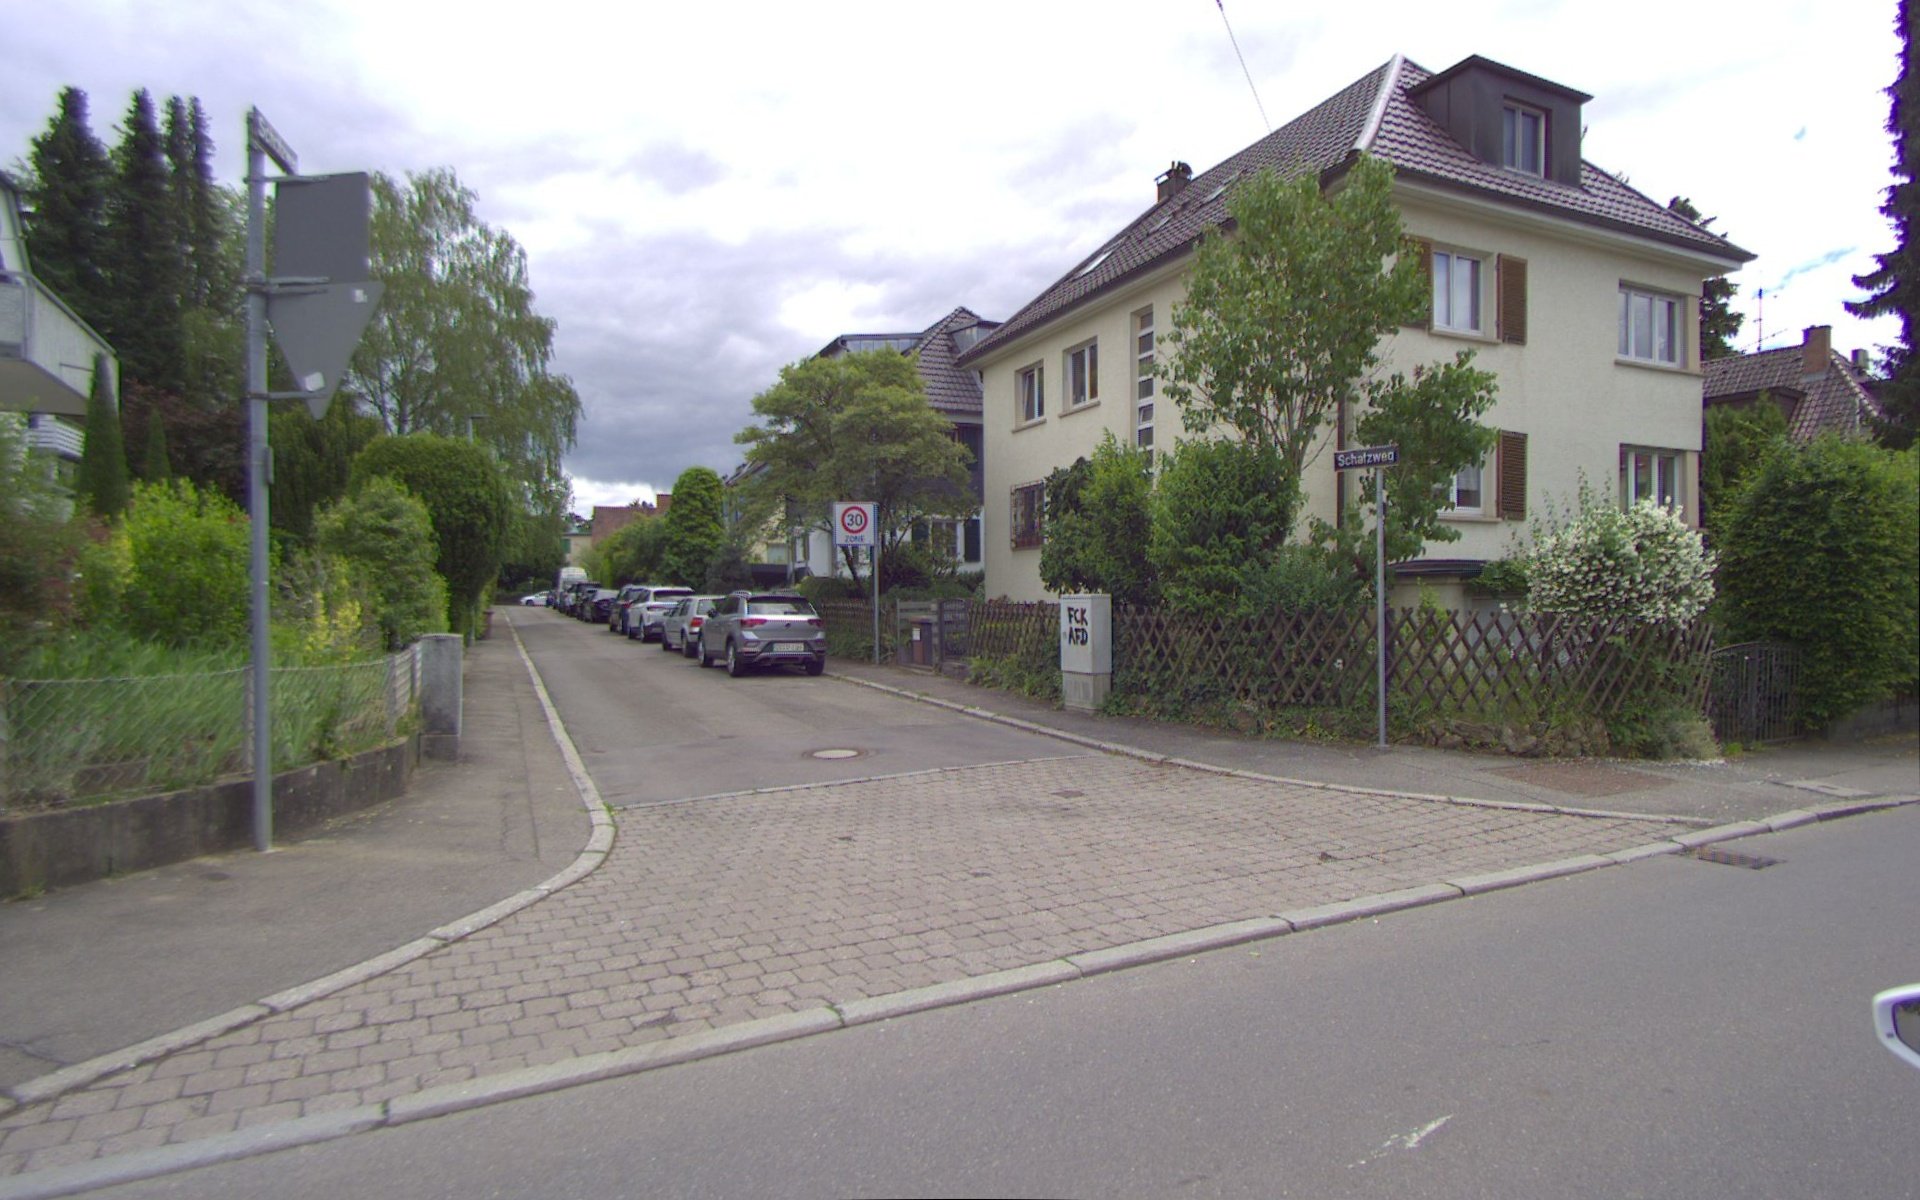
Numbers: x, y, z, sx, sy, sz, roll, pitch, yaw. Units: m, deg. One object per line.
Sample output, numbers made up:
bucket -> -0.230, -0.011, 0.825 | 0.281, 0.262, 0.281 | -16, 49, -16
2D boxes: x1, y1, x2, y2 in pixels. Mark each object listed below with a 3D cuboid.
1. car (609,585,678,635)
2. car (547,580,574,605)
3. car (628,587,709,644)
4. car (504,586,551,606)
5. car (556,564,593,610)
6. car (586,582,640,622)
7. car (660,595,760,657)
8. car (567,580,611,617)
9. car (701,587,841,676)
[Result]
car -> -11.034, 0.305, 34.872 | 1.763, 1.607, 3.872 | 1, 0, -25
car -> -34.010, -0.633, 85.358 | 1.859, 2.040, 3.974 | 1, 0, -25
car -> -8.861, 0.431, 30.310 | 1.746, 1.594, 3.853 | 1, 0, -25
car -> -41.065, -0.387, 95.462 | 3.938, 1.818, 1.808 | 1, 0, -19
car -> -25.544, -0.855, 66.472 | 1.944, 2.893, 3.974 | 1, 0, -25
car -> -15.383, 0.061, 44.455 | 1.822, 1.662, 3.974 | 1, 0, -25
car -> -6.384, 0.606, 25.381 | 1.718, 1.427, 3.808 | 1, 0, -25
car -> -20.189, -0.088, 54.572 | 1.885, 1.878, 3.942 | 1, 0, -25
car -> -3.876, 0.552, 20.037 | 1.783, 1.566, 3.974 | 1, 0, -25
